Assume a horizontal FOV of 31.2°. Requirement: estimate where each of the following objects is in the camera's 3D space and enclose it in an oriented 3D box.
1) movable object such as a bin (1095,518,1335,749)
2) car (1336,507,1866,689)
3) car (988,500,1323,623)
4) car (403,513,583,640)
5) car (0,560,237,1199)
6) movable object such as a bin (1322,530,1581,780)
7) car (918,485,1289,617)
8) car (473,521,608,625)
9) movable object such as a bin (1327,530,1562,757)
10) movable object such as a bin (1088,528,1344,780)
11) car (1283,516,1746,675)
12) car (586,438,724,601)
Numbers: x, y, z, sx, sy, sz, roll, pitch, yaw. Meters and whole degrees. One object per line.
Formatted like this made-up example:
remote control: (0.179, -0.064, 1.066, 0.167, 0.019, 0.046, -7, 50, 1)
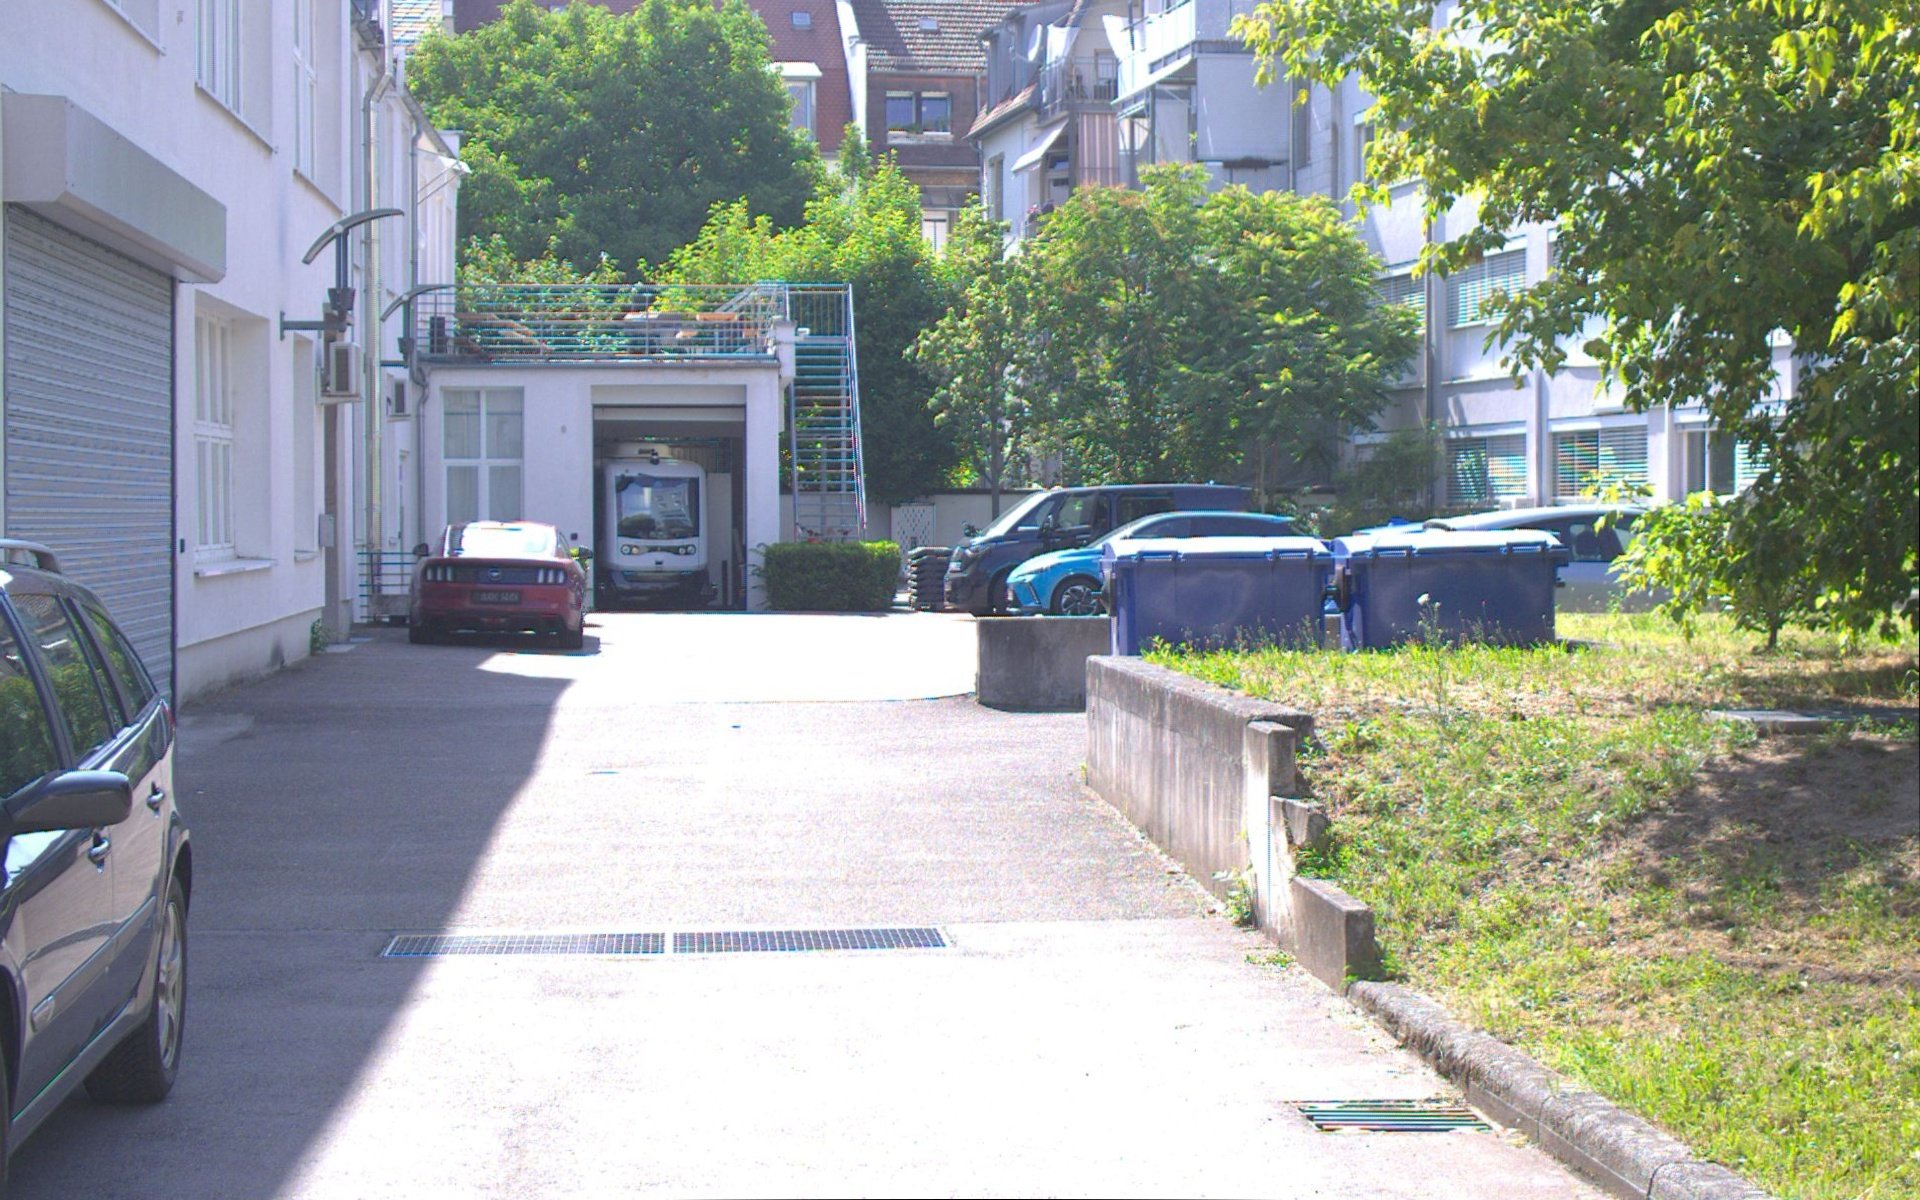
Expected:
movable object such as a bin: (1.541, 0.185, 20.971, 1.247, 1.350, 1.129, -1, 1, -8)
car: (5.321, -0.047, 28.790, 3.986, 1.422, 1.812, -1, 2, -7)
car: (2.623, -0.549, 46.689, 4.228, 1.527, 2.001, -1, 2, -8)
car: (-5.255, -0.303, 39.081, 1.851, 1.315, 4.001, 1, 1, -6)
car: (-2.798, 0.611, 7.500, 1.836, 1.437, 4.430, 2, 0, -5)
movable object such as a bin: (2.729, 0.288, 19.224, 1.247, 1.336, 1.142, -1, 1, -2)
car: (2.069, -0.743, 49.906, 4.950, 1.761, 2.097, -2, 3, -17)
car: (-5.589, -0.389, 46.105, 1.614, 1.291, 3.759, -1, 2, -4)
movable object such as a bin: (2.957, 0.244, 21.084, 1.155, 1.332, 1.142, -1, 1, -8)
movable object such as a bin: (1.407, 0.290, 19.196, 1.247, 1.315, 1.142, -2, 0, -3)
car: (5.159, -0.065, 32.259, 3.986, 1.389, 1.689, -1, 2, -5)
car: (-5.191, -1.369, 58.951, 2.174, 2.598, 6.735, -1, 1, -4)
